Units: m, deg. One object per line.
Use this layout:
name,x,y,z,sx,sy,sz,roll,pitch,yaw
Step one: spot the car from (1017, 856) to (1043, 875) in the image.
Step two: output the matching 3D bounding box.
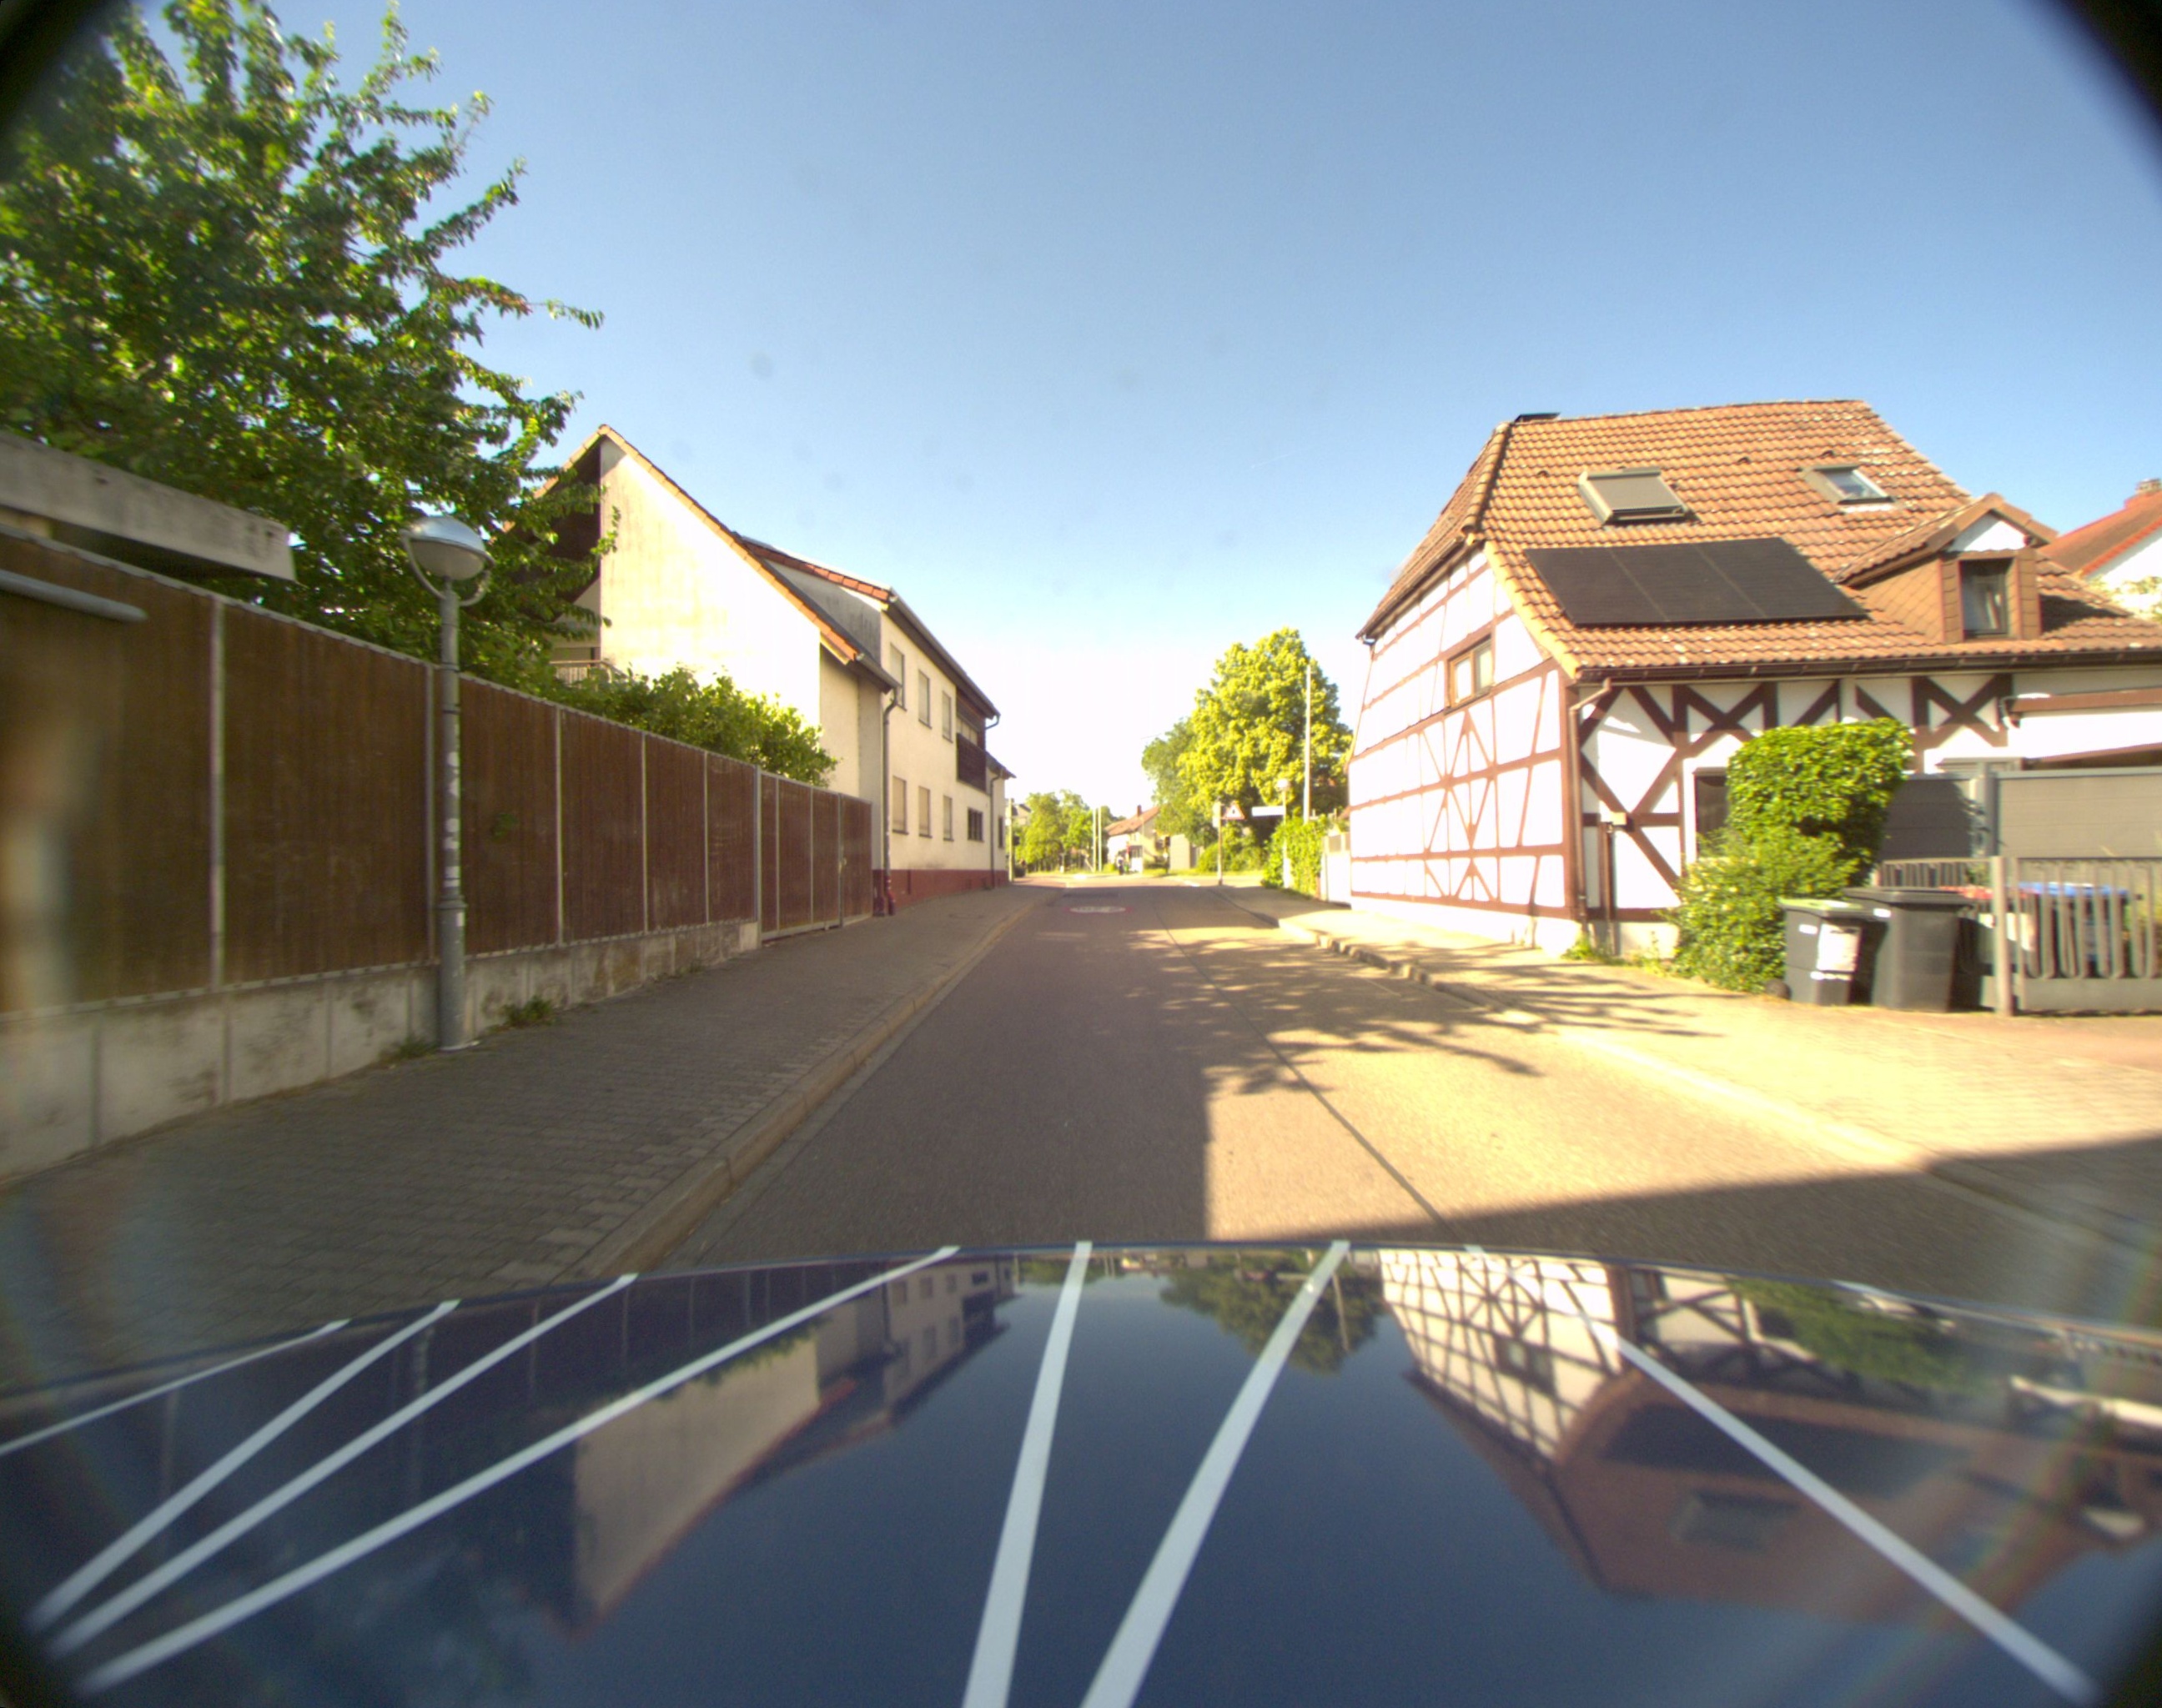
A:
car,-5.473,1.209,80.503,1.967,1.908,4.572,-1,0,-14

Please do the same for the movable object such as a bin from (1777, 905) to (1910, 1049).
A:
movable object such as a bin,6.547,1.035,6.557,0.477,1.133,0.668,0,1,2

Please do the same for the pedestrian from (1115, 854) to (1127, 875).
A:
pedestrian,3.581,0.955,68.176,0.716,1.792,0.772,-1,1,30

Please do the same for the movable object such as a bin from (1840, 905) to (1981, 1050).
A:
movable object such as a bin,7.105,1.031,6.538,0.477,1.133,0.668,0,1,2
